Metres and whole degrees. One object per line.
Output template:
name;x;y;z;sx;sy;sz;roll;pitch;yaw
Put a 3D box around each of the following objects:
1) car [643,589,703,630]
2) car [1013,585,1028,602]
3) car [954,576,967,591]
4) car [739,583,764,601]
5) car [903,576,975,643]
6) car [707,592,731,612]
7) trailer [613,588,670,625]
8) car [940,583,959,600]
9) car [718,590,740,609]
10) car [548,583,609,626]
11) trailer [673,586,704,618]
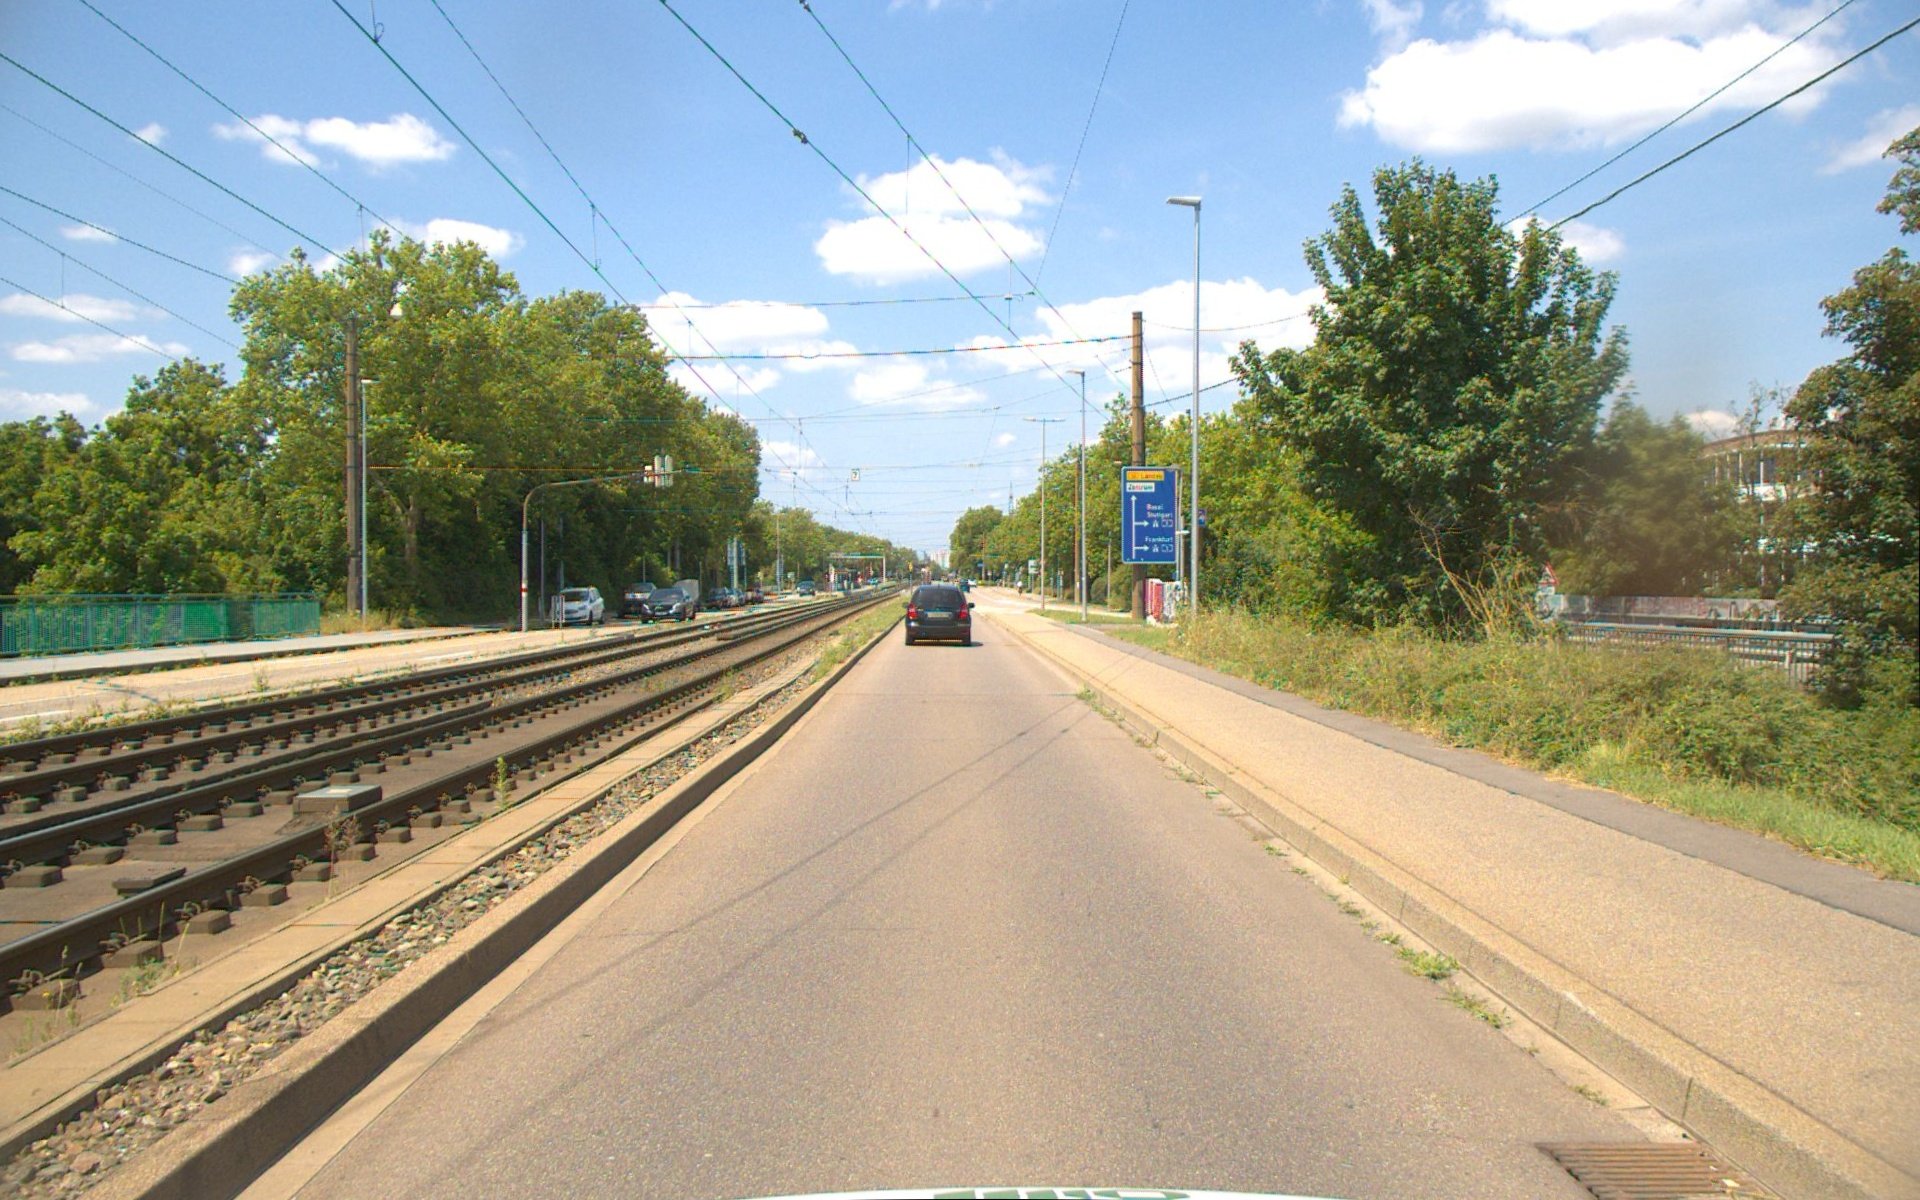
car;-12.736;0.401;73.698;1.837;1.750;5.329;0;0;-1
car;7.411;-0.832;203.337;1.580;2.048;3.439;1;1;-1
car;0.100;-2.445;241.560;1.750;2.048;4.000;1;1;-1
car;-19.464;-0.746;154.513;1.953;1.601;3.999;1;0;-1
car;-0.534;0.209;44.515;1.815;1.597;4.389;1;2;0
car;-18.114;0.114;124.568;1.405;1.477;3.919;1;0;-3
trailer;-17.077;0.331;88.926;2.413;1.922;5.956;1;0;-5
car;-1.115;-0.928;178.268;1.846;1.668;4.000;4;1;0
car;-18.266;-0.058;130.896;1.405;1.477;3.739;1;0;-3
car;-16.861;0.166;73.239;1.685;1.659;4.615;-3;2;-2
trailer;-17.938;0.119;109.358;1.578;2.049;3.913;1;1;-4
